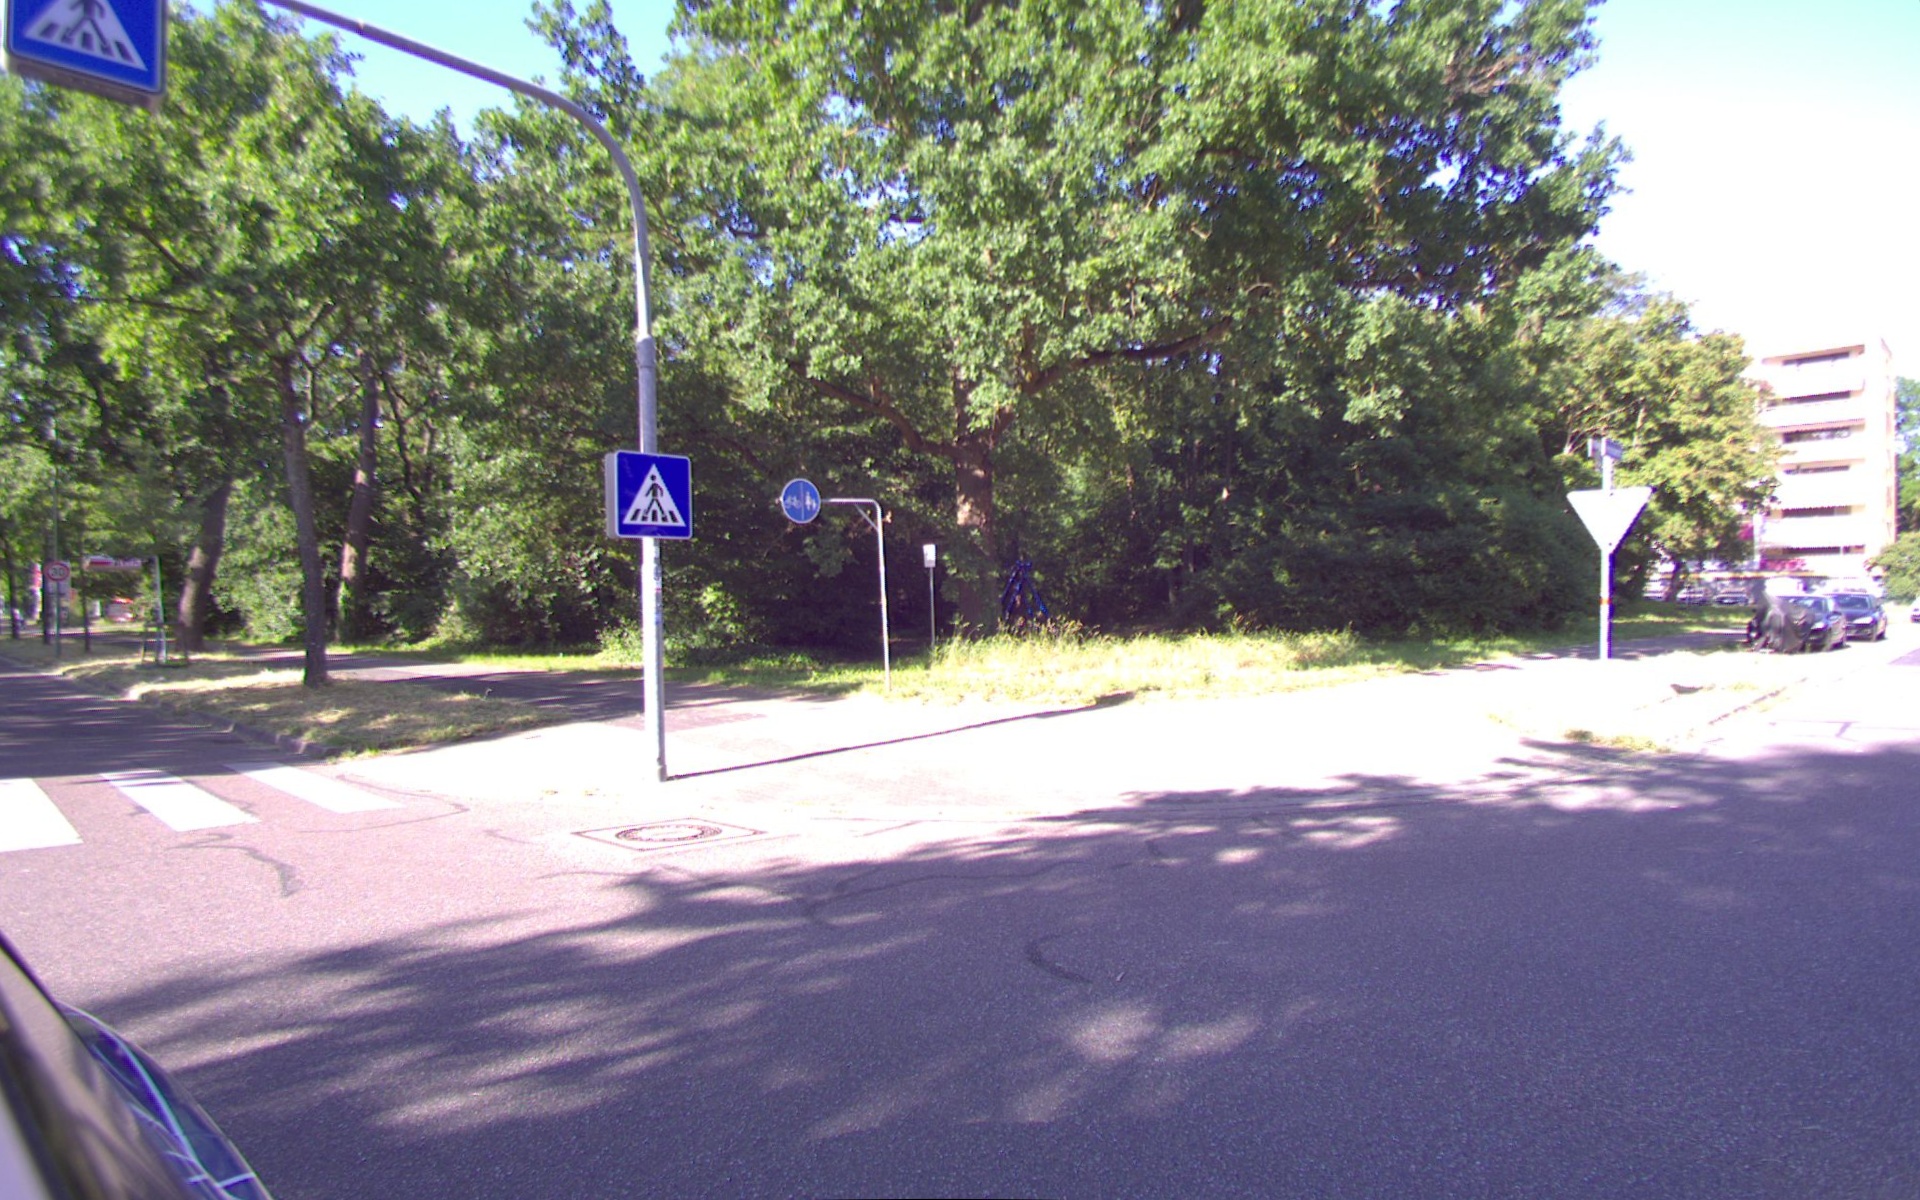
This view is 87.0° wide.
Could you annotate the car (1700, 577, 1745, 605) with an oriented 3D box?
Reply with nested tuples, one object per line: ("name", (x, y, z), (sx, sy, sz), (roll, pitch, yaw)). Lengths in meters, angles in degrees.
("car", (49.870, -0.585, 66.181), (3.779, 1.757, 1.764), (-1, 0, -44))

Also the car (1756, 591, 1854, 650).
("car", (22.011, 0.498, 26.313), (3.535, 1.402, 1.561), (-1, 0, -44))

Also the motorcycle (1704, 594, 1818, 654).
("motorcycle", (18.686, 0.562, 23.662), (1.944, 1.354, 0.672), (-1, 0, 16))

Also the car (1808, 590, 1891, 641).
("car", (26.703, 0.448, 30.359), (3.535, 1.402, 1.561), (-1, 0, -44))

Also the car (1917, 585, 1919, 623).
("car", (41.458, 0.120, 42.519), (3.779, 1.569, 1.647), (-1, 0, -44))

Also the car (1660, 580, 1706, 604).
("car", (48.165, -0.532, 67.386), (3.779, 1.538, 1.802), (-1, 0, -44))

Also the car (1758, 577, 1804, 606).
("car", (51.677, -0.565, 63.702), (3.779, 1.757, 1.764), (-1, 0, -44))
